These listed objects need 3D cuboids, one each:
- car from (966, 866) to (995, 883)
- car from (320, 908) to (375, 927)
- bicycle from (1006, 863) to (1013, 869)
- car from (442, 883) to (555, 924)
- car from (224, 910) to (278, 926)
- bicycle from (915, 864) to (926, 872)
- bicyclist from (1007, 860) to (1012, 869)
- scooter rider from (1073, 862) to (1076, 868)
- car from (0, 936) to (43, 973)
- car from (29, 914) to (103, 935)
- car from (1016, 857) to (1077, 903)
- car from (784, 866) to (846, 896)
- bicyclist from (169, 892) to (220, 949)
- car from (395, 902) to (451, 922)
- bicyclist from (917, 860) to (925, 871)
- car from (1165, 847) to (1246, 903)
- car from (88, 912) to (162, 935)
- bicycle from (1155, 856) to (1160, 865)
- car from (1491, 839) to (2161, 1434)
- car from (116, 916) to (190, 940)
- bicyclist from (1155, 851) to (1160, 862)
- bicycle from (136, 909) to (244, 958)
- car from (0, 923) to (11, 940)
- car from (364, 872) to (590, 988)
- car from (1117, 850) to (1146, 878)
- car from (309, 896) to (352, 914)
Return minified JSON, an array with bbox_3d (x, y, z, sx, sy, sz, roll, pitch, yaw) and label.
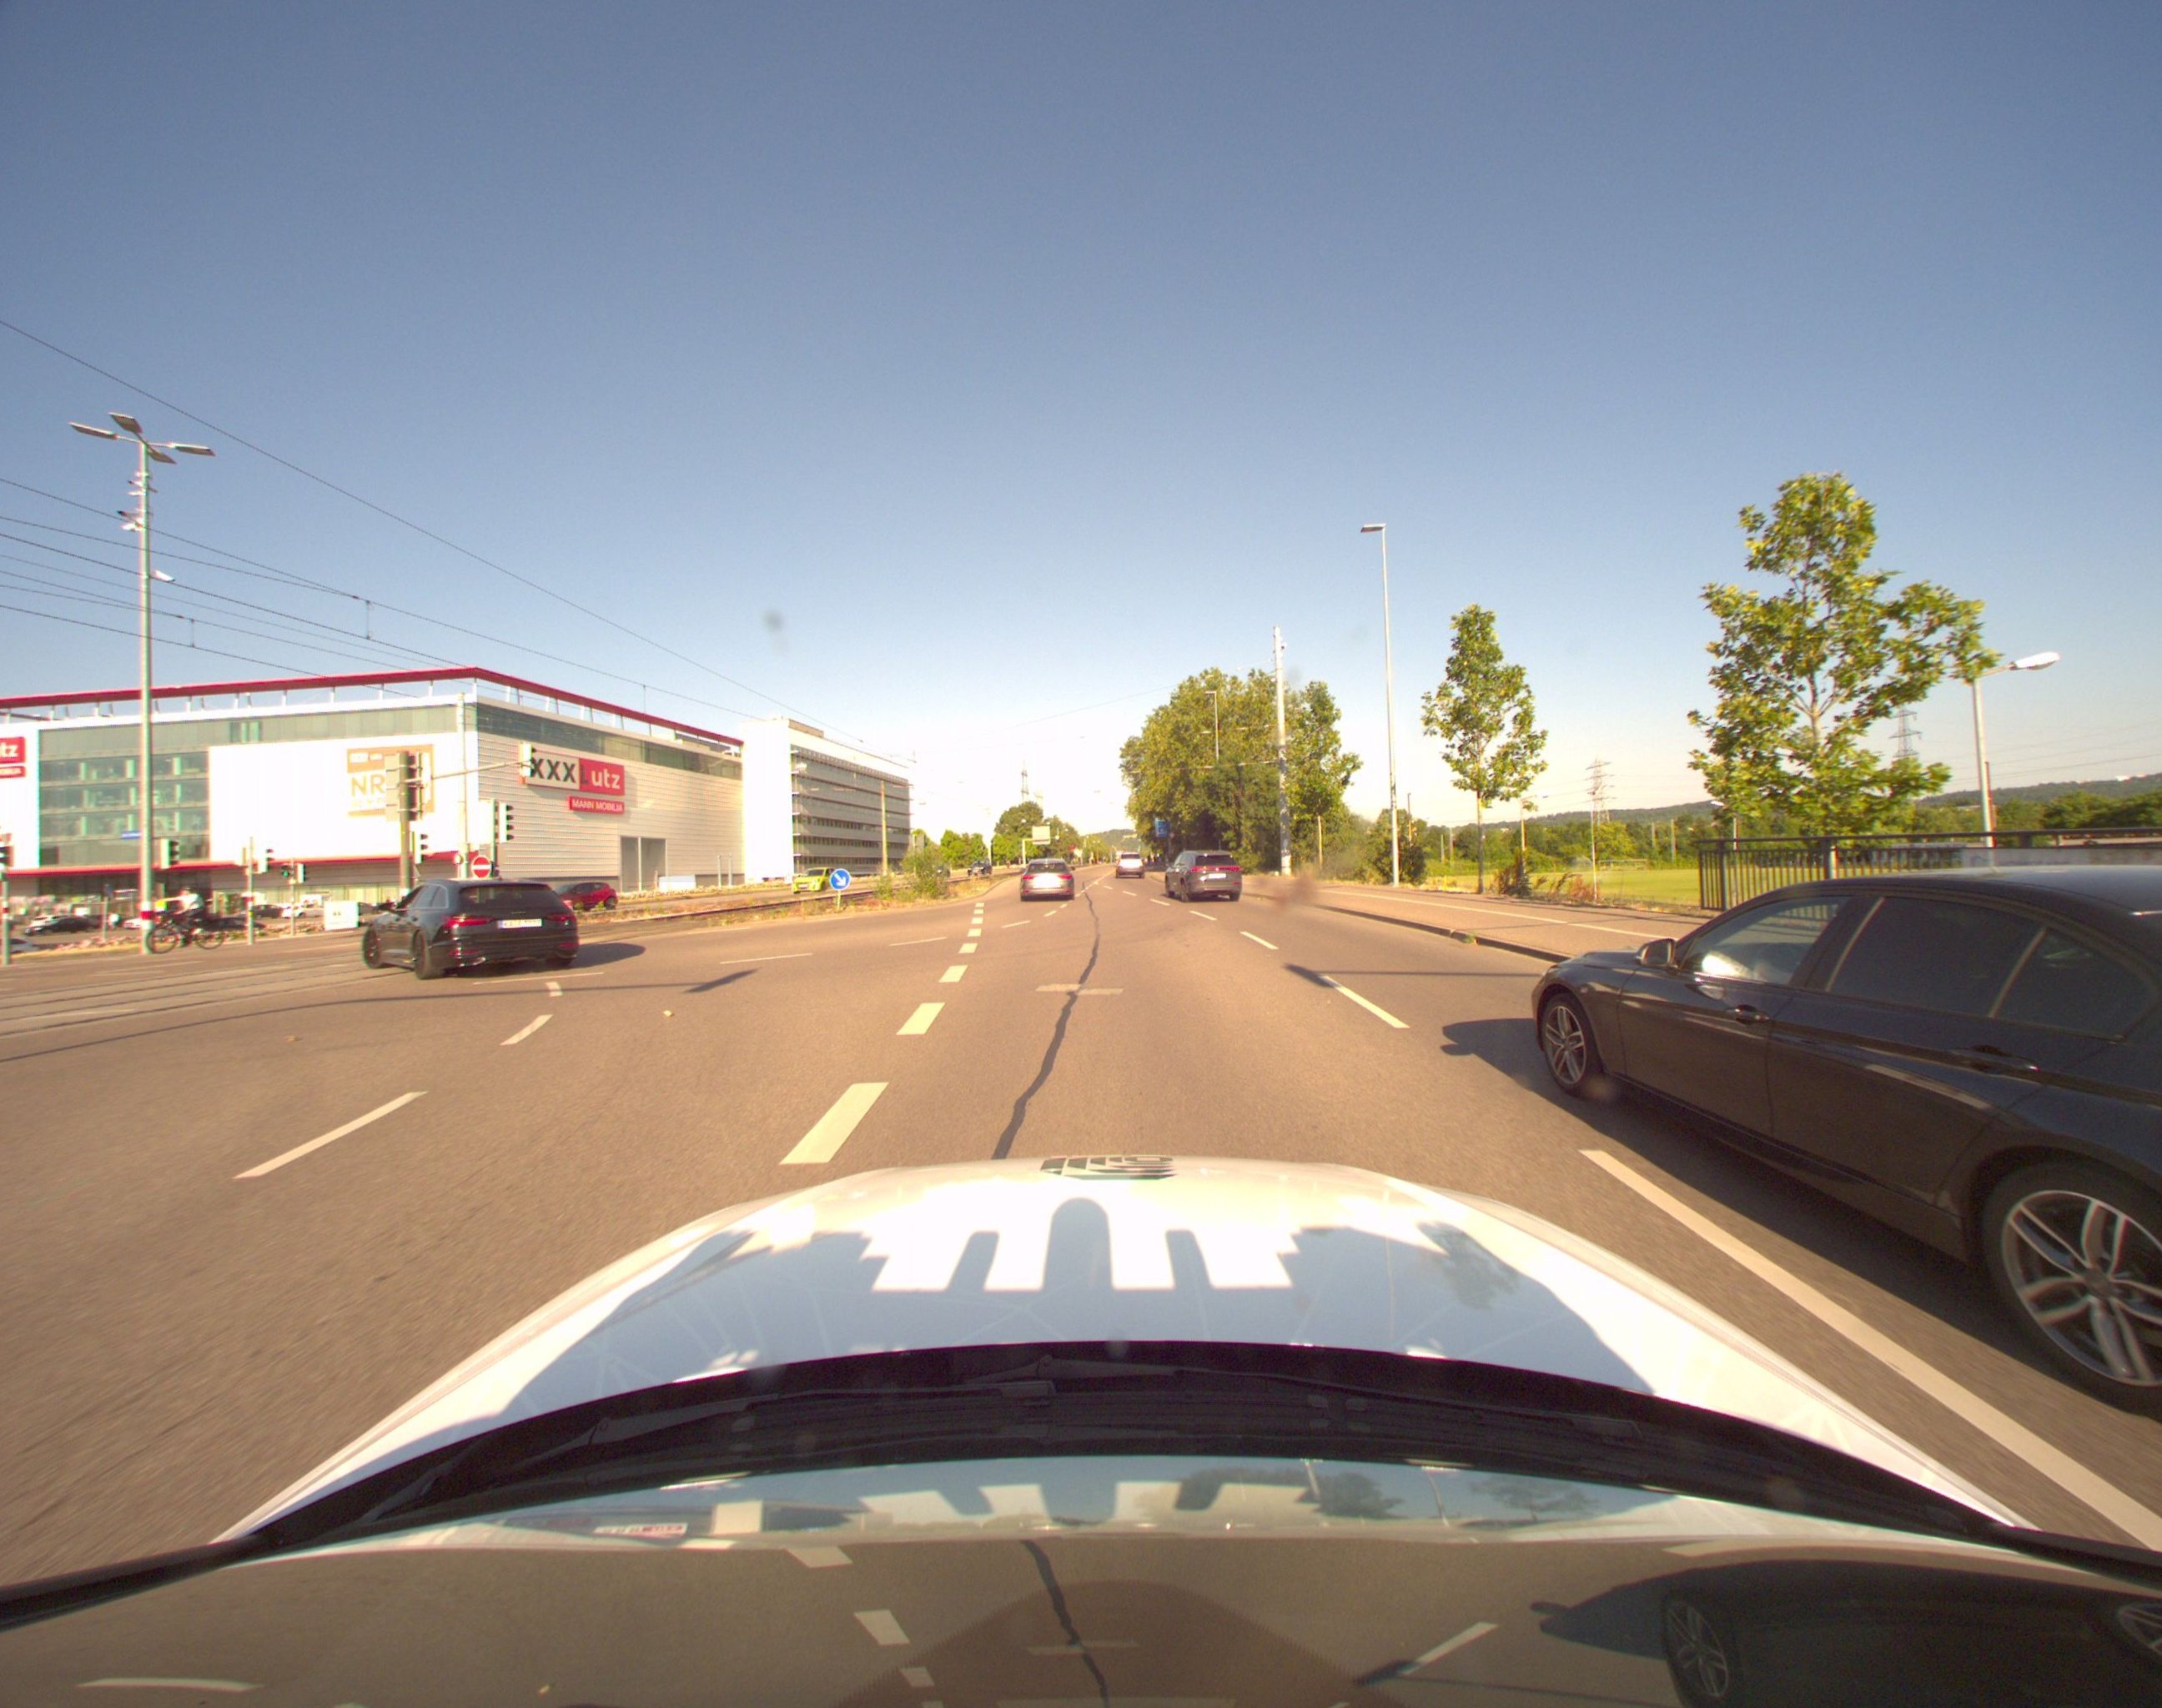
[{"bbox_3d":[-10.628,2.154,86.618,1.984,1.655,4.666,-3,0,6],"label":"car"},{"bbox_3d":[-76.443,6.616,84.894,1.912,1.702,4.005,0,0,4],"label":"car"},{"bbox_3d":[-13.521,2.327,154.402,0.656,1.151,2.030,0,0,14],"label":"bicycle"},{"bbox_3d":[-27.998,2.345,39.282,1.805,1.643,4.020,-4,0,20],"label":"car"},{"bbox_3d":[-86.838,6.702,85.249,1.645,1.368,3.673,0,0,7],"label":"car"},{"bbox_3d":[-21.602,1.910,109.786,0.700,1.073,2.034,0,0,12],"label":"bicycle"},{"bbox_3d":[-13.548,1.934,154.298,0.656,1.623,0.804,0,0,14],"label":"bicyclist"},{"bbox_3d":[-2.079,3.330,255.333,0.677,1.848,1.004,-3,-1,12],"label":"scooter rider"},{"bbox_3d":[-56.497,5.238,41.287,1.987,1.710,4.417,0,0,1],"label":"car"},{"bbox_3d":[-96.068,6.626,77.163,1.866,1.619,4.002,0,0,2],"label":"car"},{"bbox_3d":[-1.148,0.856,29.096,1.859,1.467,4.667,-1,0,1],"label":"car"},{"bbox_3d":[-15.137,1.503,46.589,1.774,1.447,4.115,-4,0,6],"label":"car"},{"bbox_3d":[-24.800,1.842,22.787,0.584,1.522,0.754,0,0,12],"label":"bicyclist"},{"bbox_3d":[-67.811,5.987,84.024,1.912,1.702,4.454,0,0,4],"label":"car"},{"bbox_3d":[-21.583,1.518,109.867,0.700,1.512,0.973,0,0,12],"label":"bicyclist"},{"bbox_3d":[4.019,0.637,27.027,1.840,1.661,4.435,-1,0,-3],"label":"car"},{"bbox_3d":[-87.956,6.373,74.990,1.965,1.702,4.005,0,0,4],"label":"car"},{"bbox_3d":[10.769,0.914,115.112,0.619,1.120,1.815,-3,0,5],"label":"bicycle"},{"bbox_3d":[3.697,0.686,3.476,1.857,1.467,4.591,-1,0,4],"label":"car"},{"bbox_3d":[-83.869,6.650,73.688,1.984,1.814,4.005,0,0,4],"label":"car"},{"bbox_3d":[10.804,0.396,115.132,0.682,1.509,0.892,-2,0,5],"label":"bicyclist"},{"bbox_3d":[-24.810,2.191,22.738,0.584,1.168,1.998,0,0,12],"label":"bicycle"},{"bbox_3d":[-108.684,7.720,80.020,1.868,1.619,3.998,0,0,-1],"label":"car"},{"bbox_3d":[-9.564,1.100,12.786,4.038,1.458,1.933,-3,-1,40],"label":"car"},{"bbox_3d":[3.378,0.646,54.007,1.875,1.796,4.005,0,0,4],"label":"car"},{"bbox_3d":[-84.673,5.709,91.901,1.498,1.855,3.296,0,0,7],"label":"car"}]
